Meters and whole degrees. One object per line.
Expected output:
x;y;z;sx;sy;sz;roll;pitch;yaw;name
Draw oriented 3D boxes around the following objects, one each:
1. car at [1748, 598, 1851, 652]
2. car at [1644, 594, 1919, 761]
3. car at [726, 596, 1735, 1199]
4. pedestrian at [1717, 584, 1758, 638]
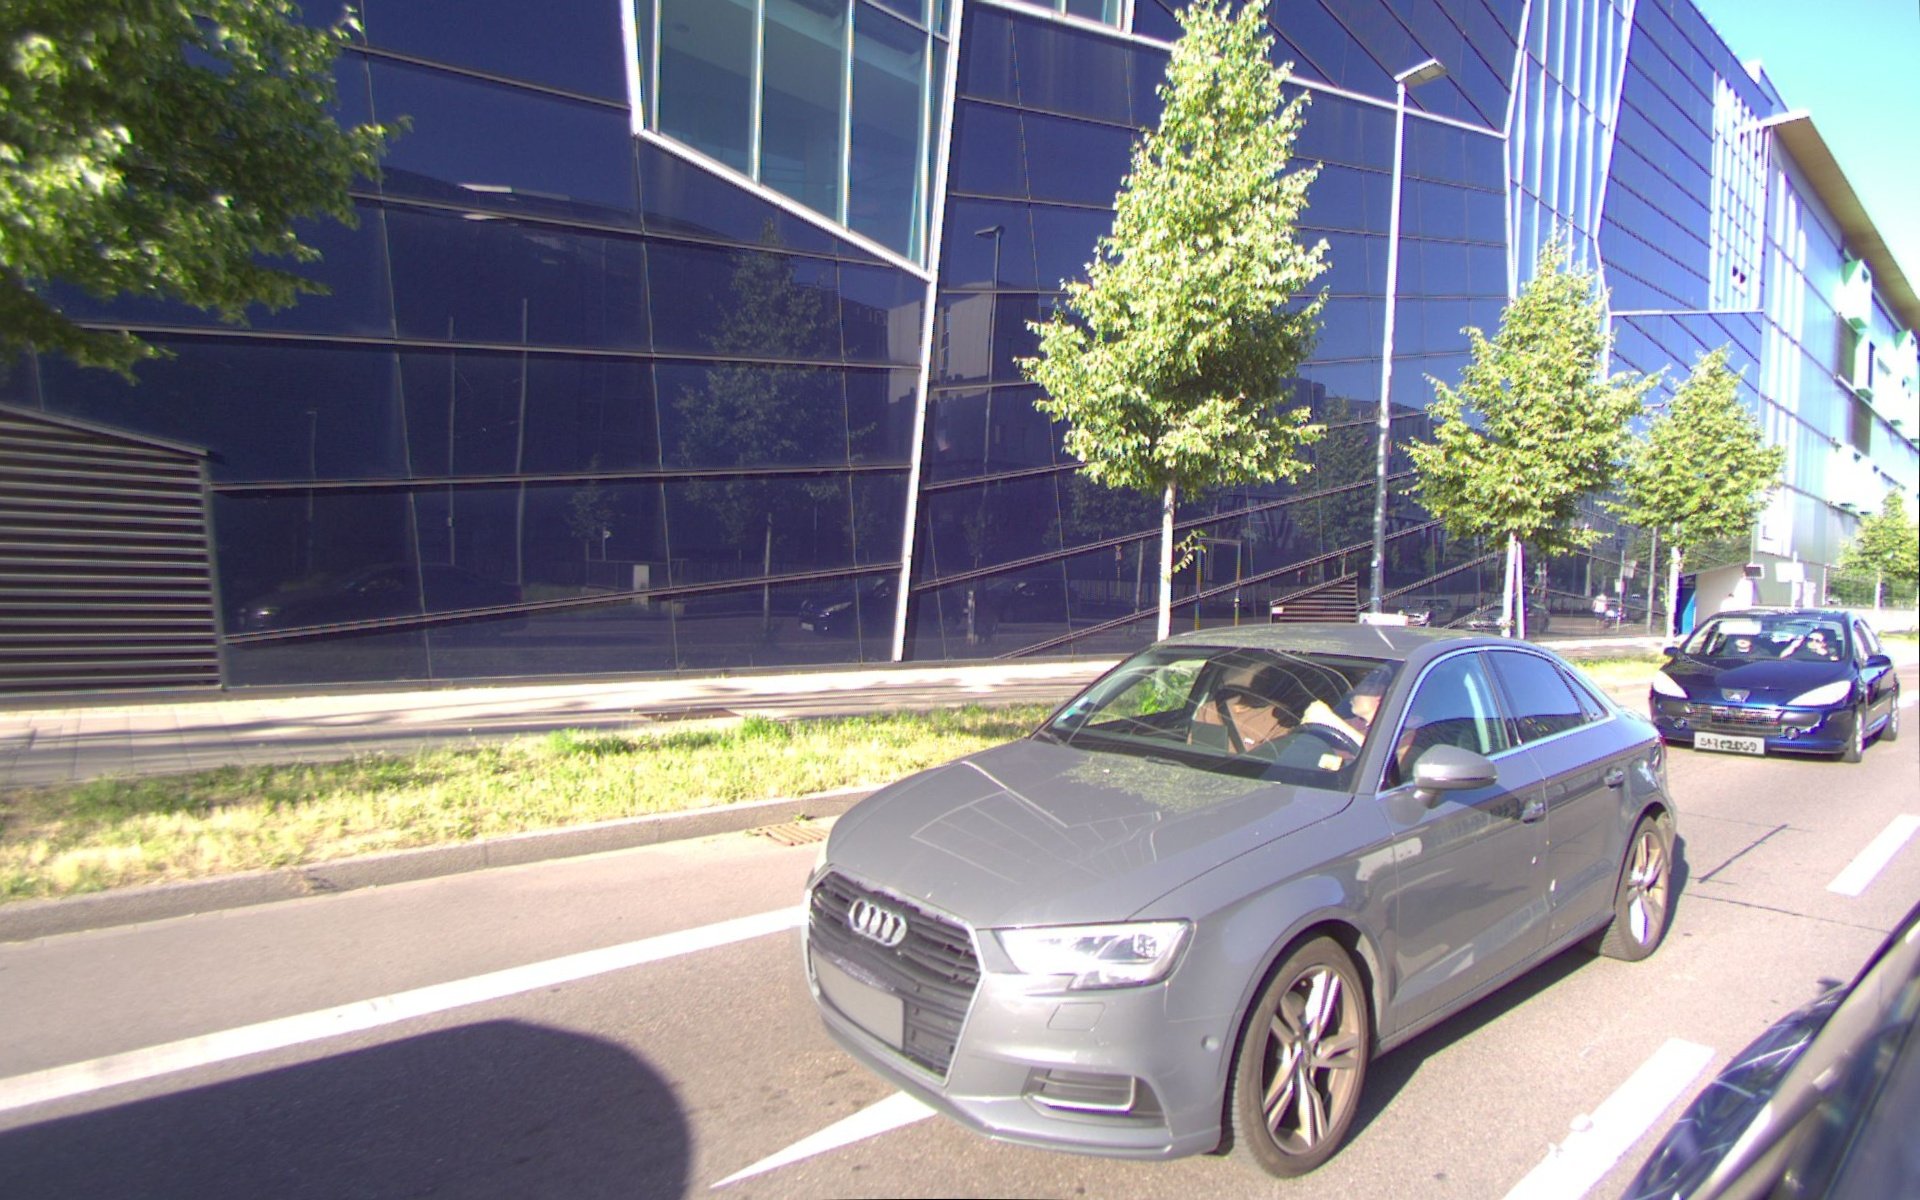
26.897;0.766;32.368;4.632;1.516;1.739;1;3;-41;car
9.187;0.724;11.183;3.902;1.497;1.752;1;0;-41;car
1.390;0.712;4.029;4.187;1.409;1.750;0;1;-39;car
27.802;0.389;36.189;0.889;1.846;0.829;1;4;-41;pedestrian
